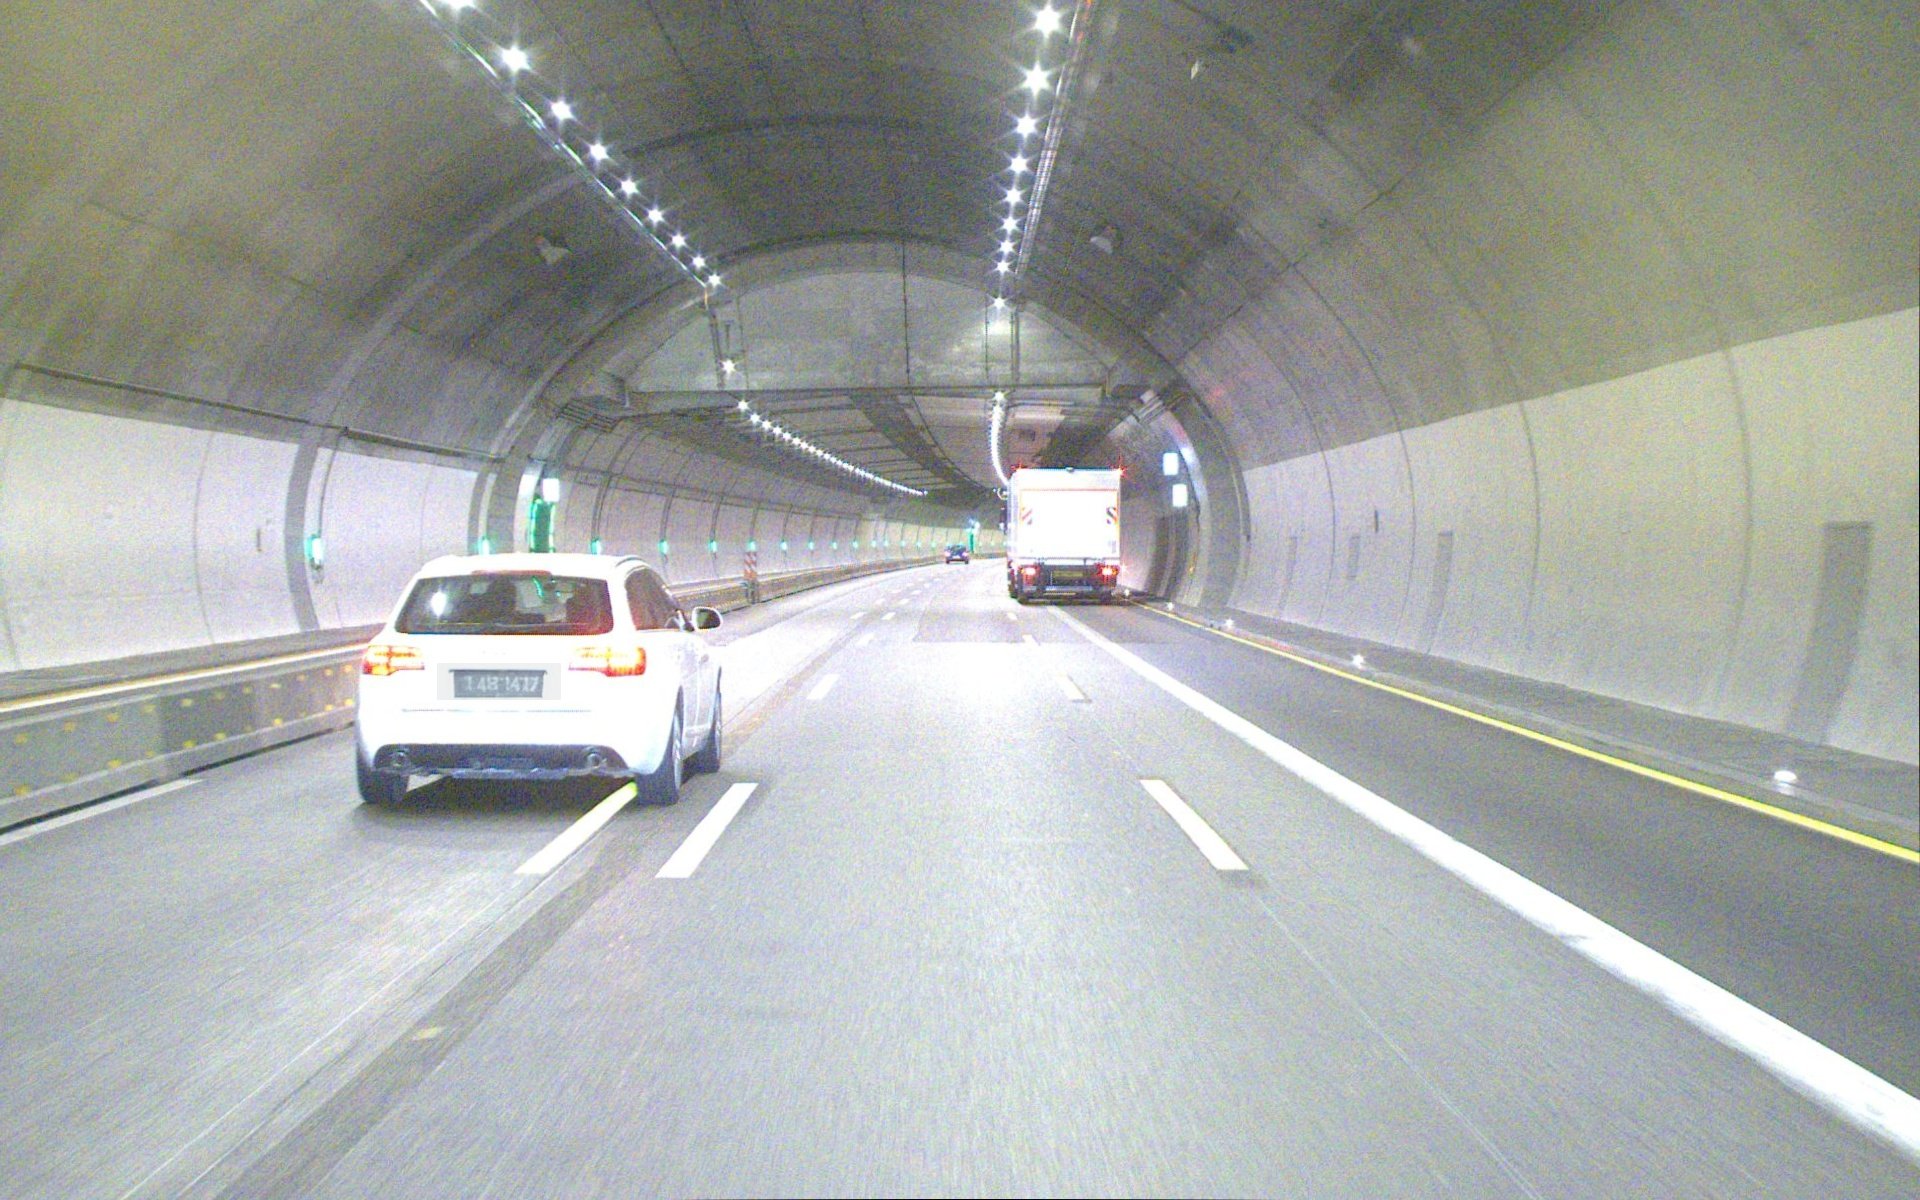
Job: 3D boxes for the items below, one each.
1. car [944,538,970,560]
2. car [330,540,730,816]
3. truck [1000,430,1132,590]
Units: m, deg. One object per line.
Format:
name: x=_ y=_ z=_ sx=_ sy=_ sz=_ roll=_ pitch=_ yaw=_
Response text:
car: x=-0.208 y=-3.637 z=244.460 sx=1.758 sy=1.456 sz=4.119 roll=-1 pitch=2 yaw=0
car: x=-2.499 y=0.393 z=21.122 sx=1.903 sy=1.479 sz=4.944 roll=1 pitch=1 yaw=-1
truck: x=2.686 y=-2.259 z=90.157 sx=3.092 sy=3.904 sz=10.368 roll=-1 pitch=0 yaw=0
